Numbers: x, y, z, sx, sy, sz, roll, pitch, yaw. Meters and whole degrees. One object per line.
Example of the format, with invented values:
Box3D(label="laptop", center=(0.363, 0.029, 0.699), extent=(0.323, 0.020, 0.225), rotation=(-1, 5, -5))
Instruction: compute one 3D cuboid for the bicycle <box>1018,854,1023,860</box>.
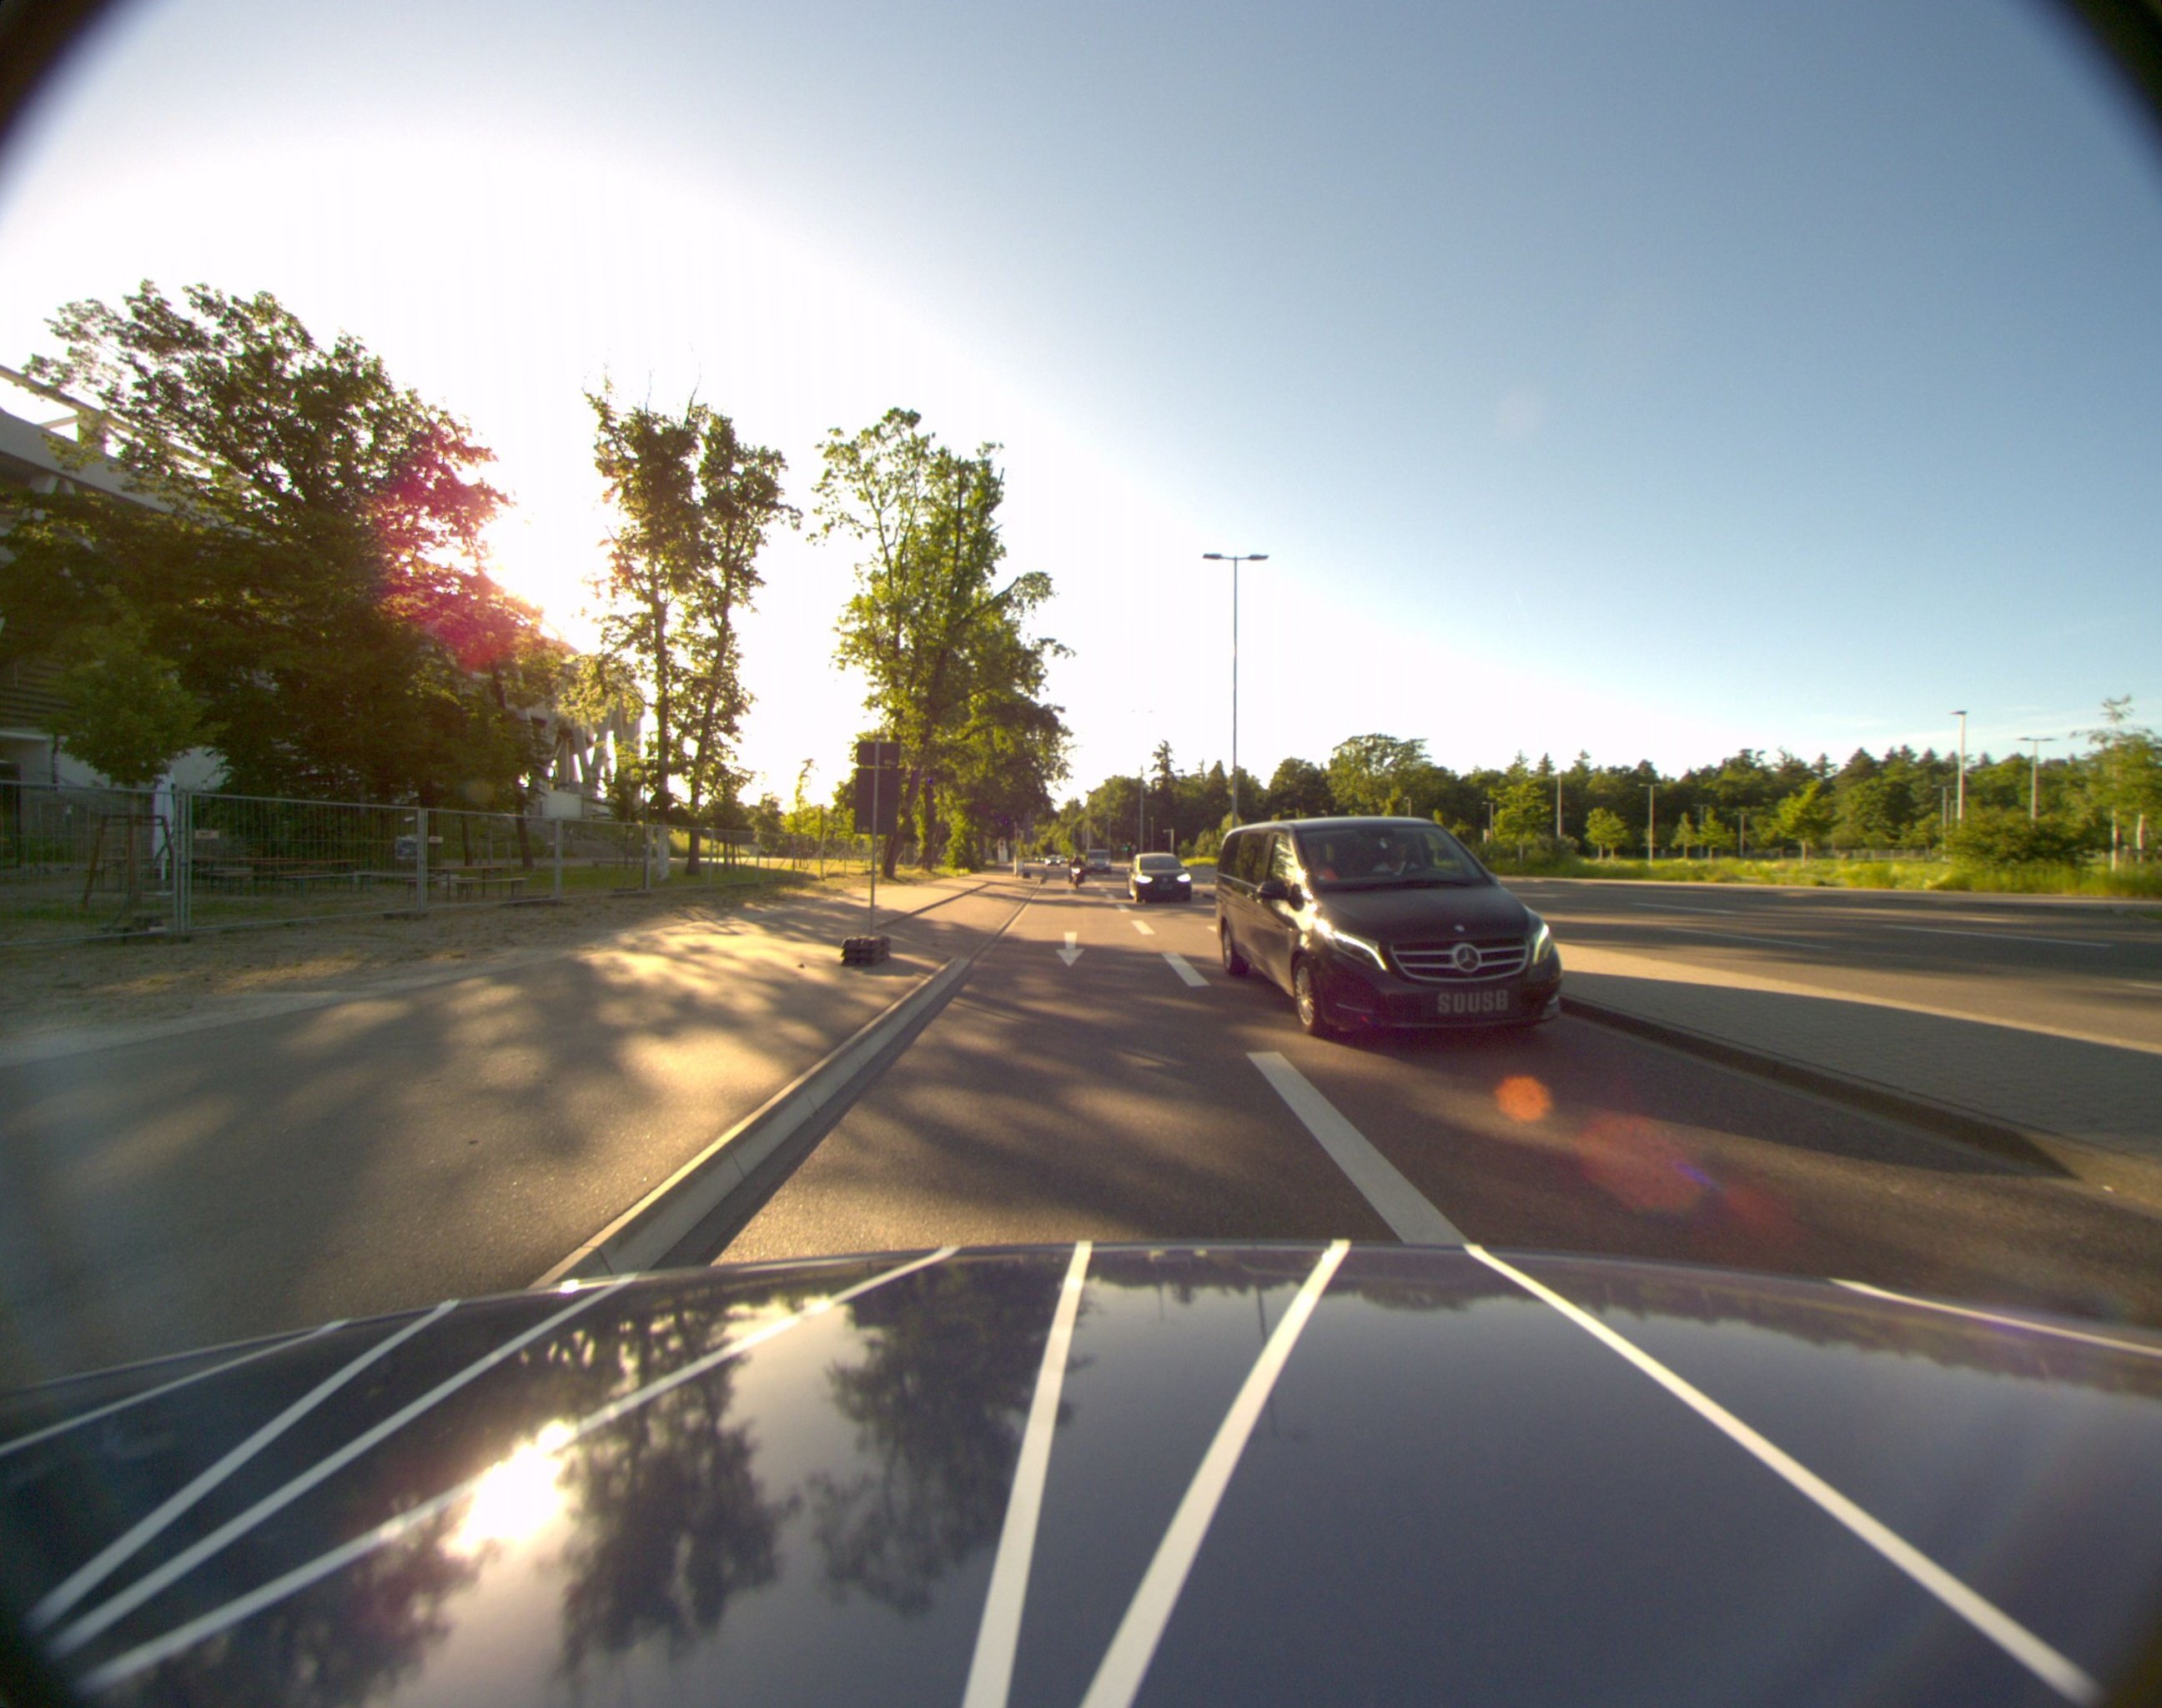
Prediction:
Box3D(label="bicycle", center=(-9.239, 0.503, 115.685), extent=(0.481, 0.854, 1.910), rotation=(0, 0, 1))

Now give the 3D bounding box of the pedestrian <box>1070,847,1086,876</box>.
Box3D(label="pedestrian", center=(-0.148, 0.366, 37.292), extent=(0.739, 1.387, 0.500), rotation=(-2, 1, 1))

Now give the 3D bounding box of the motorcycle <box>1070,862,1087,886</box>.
Box3D(label="motorcycle", center=(-0.117, 0.949, 36.642), extent=(0.717, 1.058, 2.721), rotation=(-2, 0, 1))

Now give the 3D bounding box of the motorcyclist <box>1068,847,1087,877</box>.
Box3D(label="motorcyclist", center=(-0.164, 0.384, 36.793), extent=(0.822, 1.367, 0.476), rotation=(-2, 1, 1))

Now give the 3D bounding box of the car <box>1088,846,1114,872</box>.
Box3D(label="car", center=(1.562, 0.408, 61.247), extent=(1.883, 1.951, 5.048), rotation=(-2, 0, 0))

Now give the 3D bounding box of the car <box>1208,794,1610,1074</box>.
Box3D(label="car", center=(2.659, 0.540, 7.641), extent=(1.912, 1.845, 4.873), rotation=(-2, 0, 0))

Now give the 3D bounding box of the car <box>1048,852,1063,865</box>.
Box3D(label="car", center=(-3.644, 0.634, 108.666), extent=(1.883, 1.629, 5.048), rotation=(-2, 0, 0))

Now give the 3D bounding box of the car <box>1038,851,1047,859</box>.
Box3D(label="car", center=(-9.585, 0.289, 188.409), extent=(1.774, 1.849, 3.999), rotation=(-2, 1, 1))

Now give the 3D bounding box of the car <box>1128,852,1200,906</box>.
Box3D(label="car", center=(2.660, 0.764, 25.292), extent=(1.883, 1.528, 3.999), rotation=(-2, 1, 0))

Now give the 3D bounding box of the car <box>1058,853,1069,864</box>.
Box3D(label="car", center=(-3.142, 0.857, 136.132), extent=(1.675, 1.827, 3.982), rotation=(-2, 1, 1))

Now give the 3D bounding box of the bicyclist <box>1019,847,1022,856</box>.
Box3D(label="bicyclist", center=(-9.242, -0.414, 115.633), extent=(0.451, 1.412, 0.575), rotation=(0, 1, 0))
